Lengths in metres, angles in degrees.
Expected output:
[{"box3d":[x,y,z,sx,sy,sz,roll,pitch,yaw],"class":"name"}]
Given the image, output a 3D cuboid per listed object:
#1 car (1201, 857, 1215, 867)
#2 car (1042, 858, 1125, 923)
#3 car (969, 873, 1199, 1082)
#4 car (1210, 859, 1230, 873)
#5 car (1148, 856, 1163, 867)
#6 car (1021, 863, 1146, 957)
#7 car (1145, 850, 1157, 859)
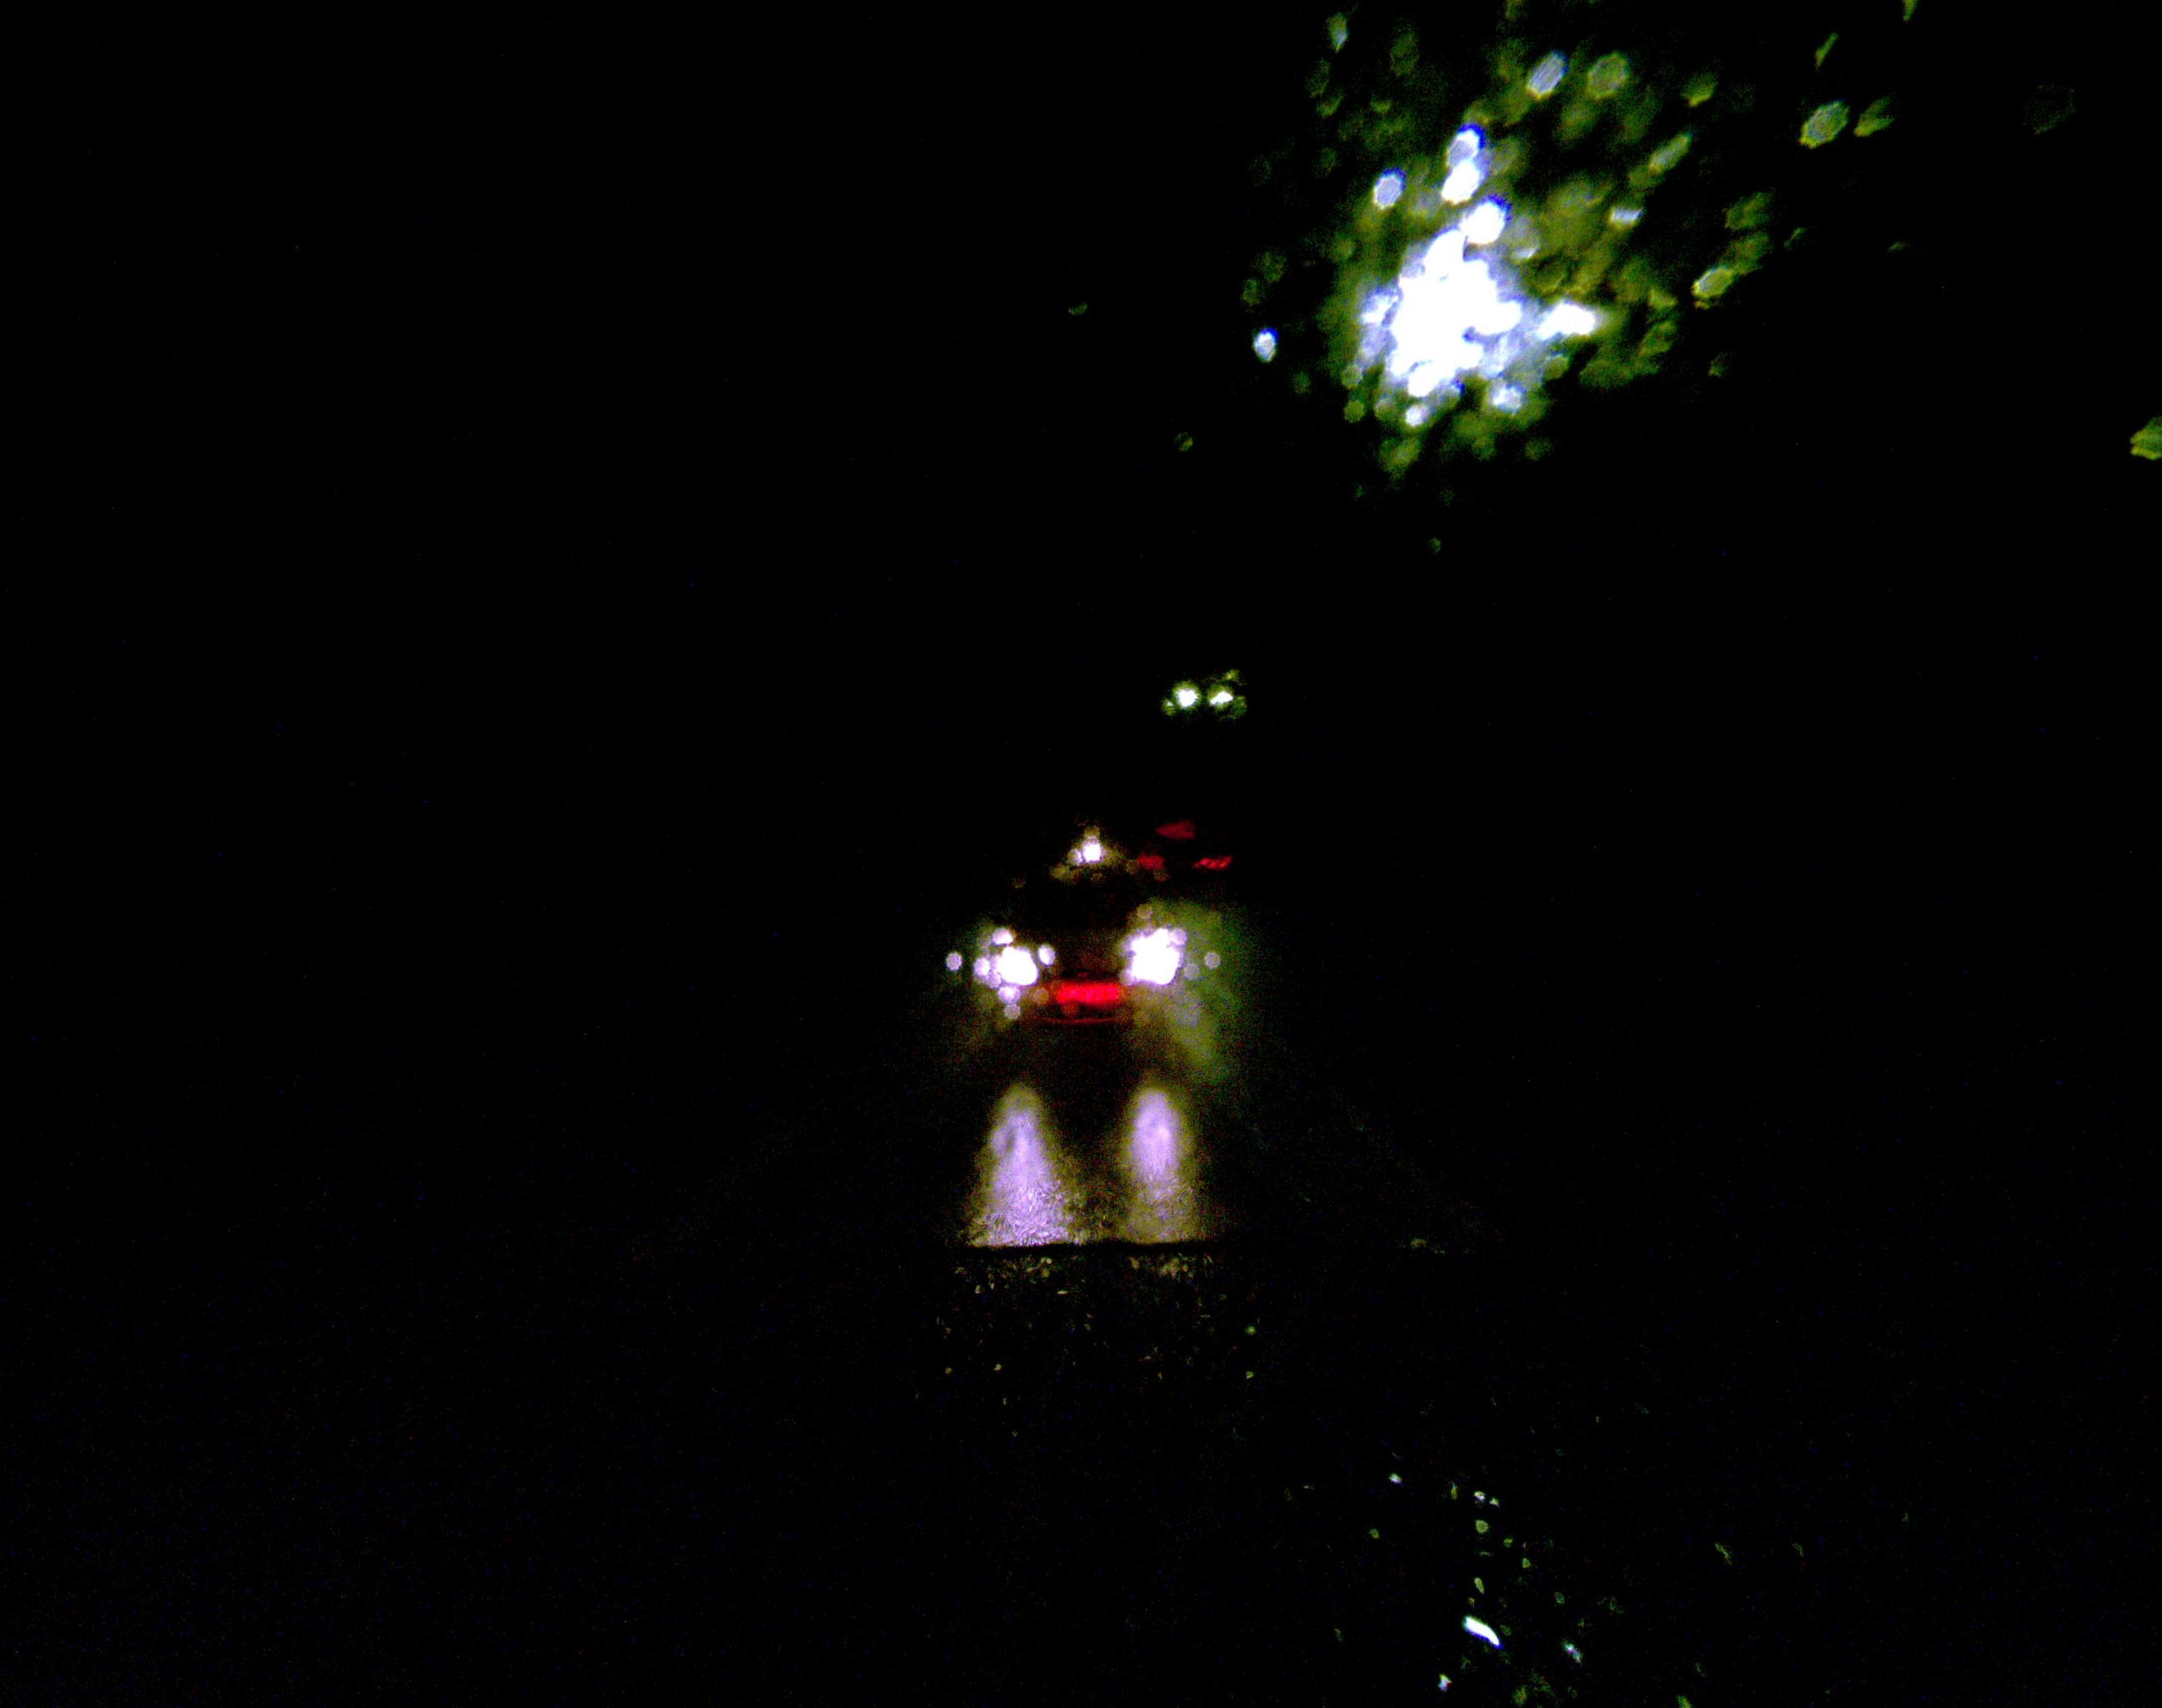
[{"box3d":[22.281,1.343,133.052,1.817,1.637,4.000,-2,0,2],"class":"car"},{"box3d":[0.086,0.903,20.438,1.998,1.531,4.000,-1,0,1],"class":"car"},{"box3d":[0.053,1.024,7.967,1.764,1.492,4.000,-2,0,1],"class":"car"},{"box3d":[17.565,1.485,96.188,1.866,1.637,4.000,-2,0,2],"class":"car"},{"box3d":[11.733,1.216,119.812,1.788,1.637,4.000,-2,0,0],"class":"car"},{"box3d":[0.064,0.928,14.253,1.998,1.455,4.000,-1,0,1],"class":"car"},{"box3d":[12.397,0.111,135.545,1.788,1.637,4.000,-2,0,1],"class":"car"}]
